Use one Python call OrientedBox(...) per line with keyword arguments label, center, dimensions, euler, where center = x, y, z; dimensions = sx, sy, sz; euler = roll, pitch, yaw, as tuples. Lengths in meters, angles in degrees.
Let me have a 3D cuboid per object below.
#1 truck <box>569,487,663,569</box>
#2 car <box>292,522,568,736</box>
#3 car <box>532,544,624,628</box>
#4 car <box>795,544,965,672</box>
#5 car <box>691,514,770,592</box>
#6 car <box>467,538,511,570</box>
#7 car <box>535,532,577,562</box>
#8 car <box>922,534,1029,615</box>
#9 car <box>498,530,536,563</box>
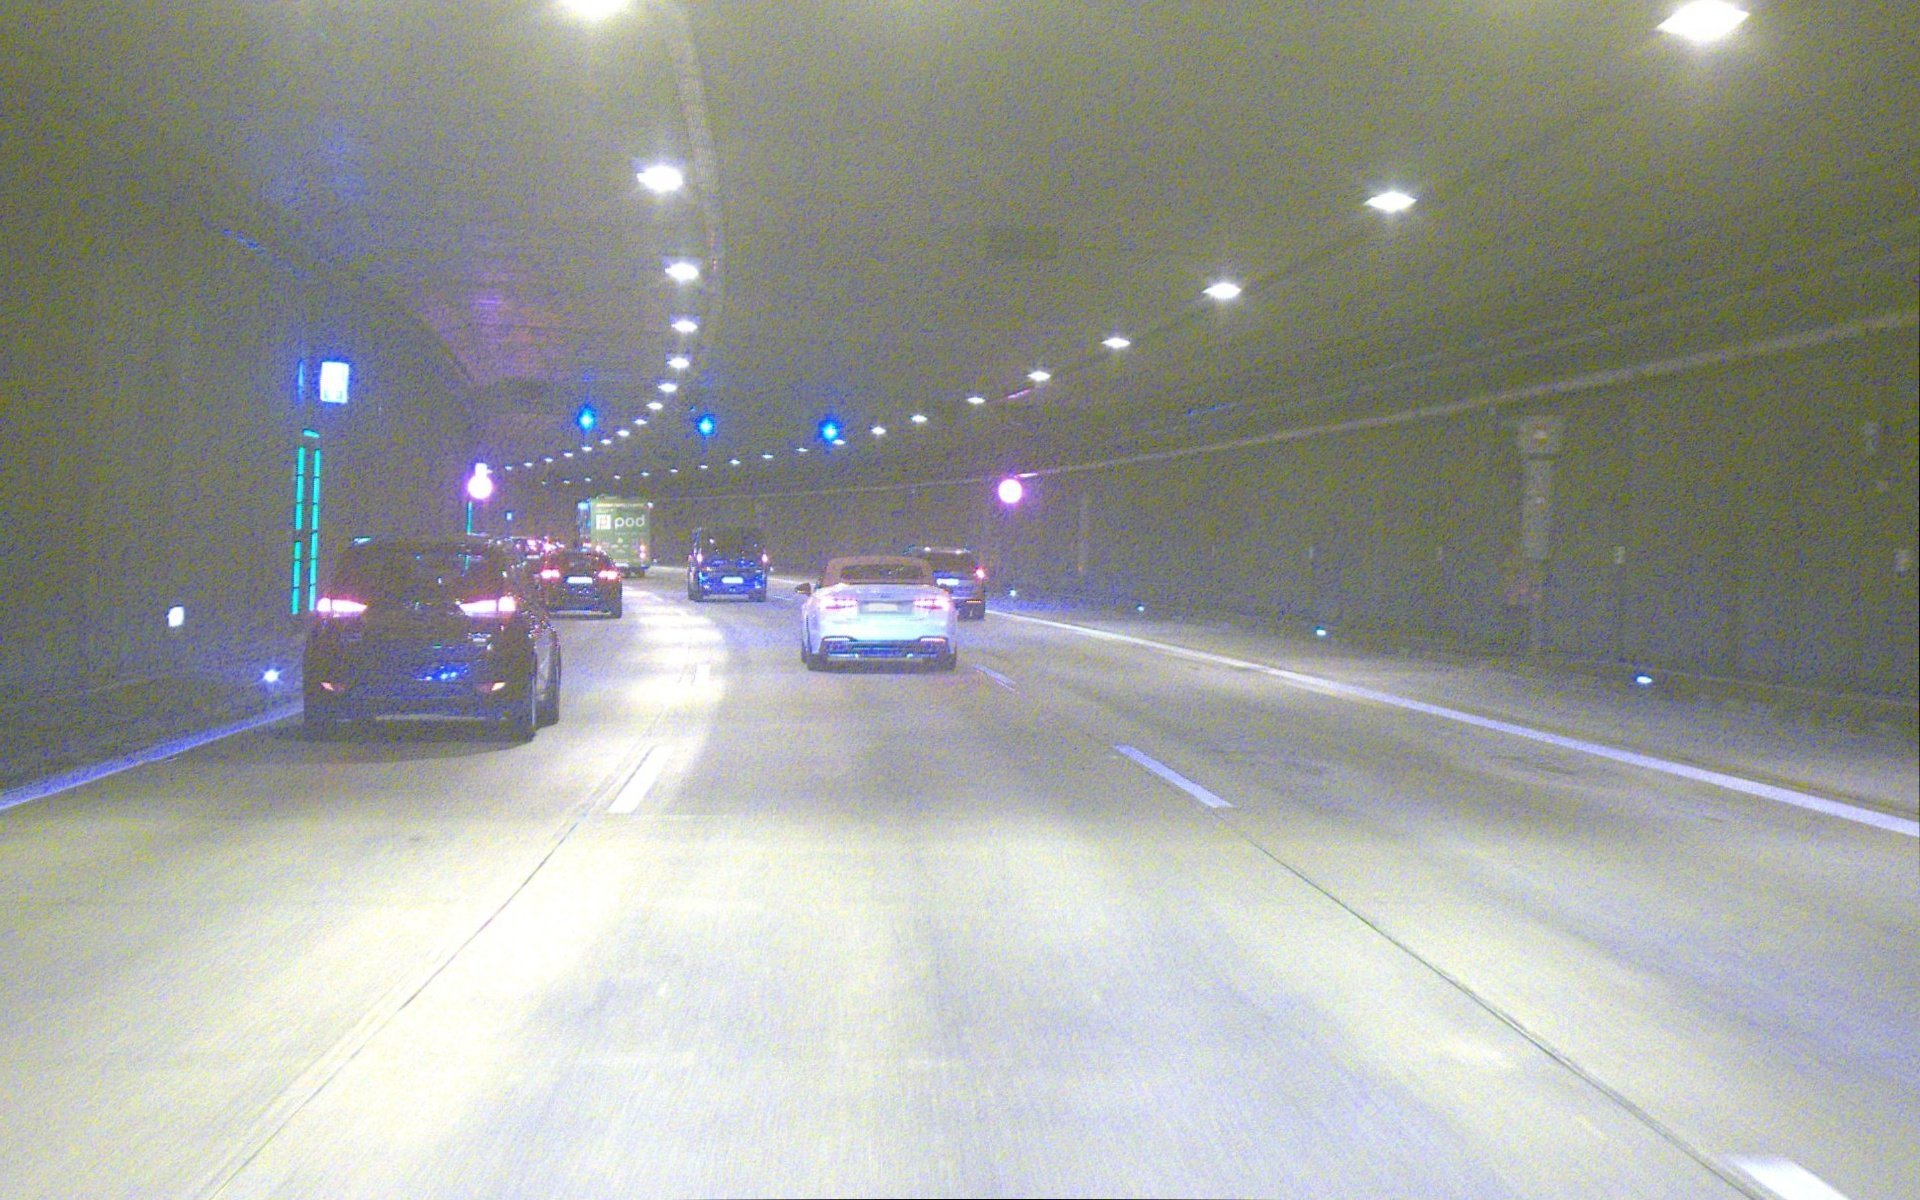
OrientedBox(label="truck", center=(-13.992, -2.956, 139.193), dimensions=(3.082, 3.102, 10.032), euler=(2, 2, -9))
OrientedBox(label="car", center=(-4.188, 0.189, 27.665), dimensions=(1.785, 1.593, 3.802), euler=(0, 1, -2))
OrientedBox(label="car", center=(-7.895, -0.314, 71.314), dimensions=(1.800, 1.678, 4.001), euler=(1, 1, -5))
OrientedBox(label="car", center=(-1.016, 0.063, 42.772), dimensions=(1.993, 1.478, 4.001), euler=(1, 1, -2))
OrientedBox(label="car", center=(-5.968, -1.220, 89.619), dimensions=(1.993, 1.965, 4.001), euler=(0, 1, -4))
OrientedBox(label="car", center=(-23.858, -2.315, 174.055), dimensions=(1.993, 1.525, 4.001), euler=(1, 0, -11))
OrientedBox(label="car", center=(-24.110, -3.148, 204.923), dimensions=(1.993, 1.748, 4.001), euler=(1, 0, -13))
OrientedBox(label="car", center=(0.285, -0.540, 71.305), dimensions=(1.839, 1.597, 4.001), euler=(1, 1, -5))
OrientedBox(label="car", center=(-24.533, -2.964, 190.370), dimensions=(1.993, 1.748, 4.001), euler=(1, 0, -7))
